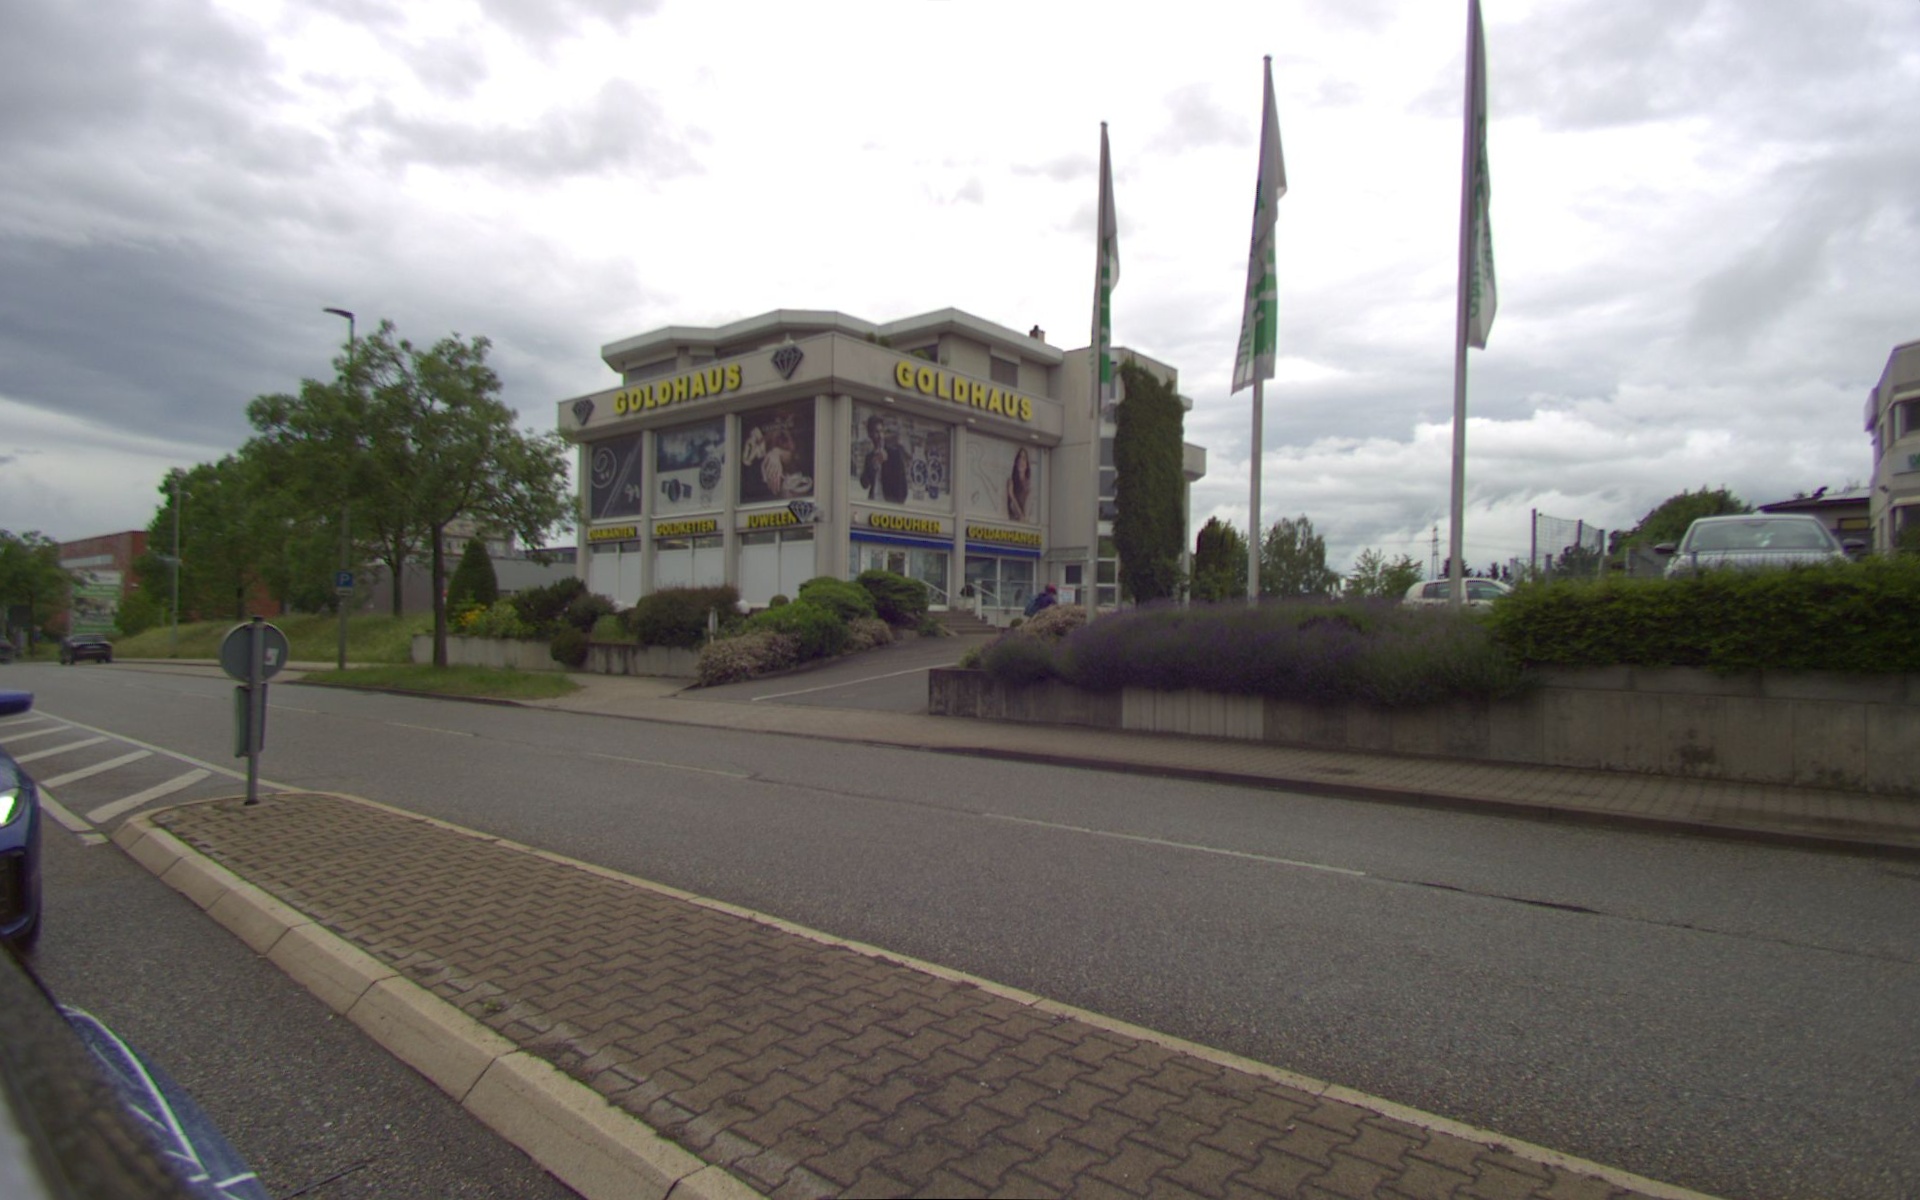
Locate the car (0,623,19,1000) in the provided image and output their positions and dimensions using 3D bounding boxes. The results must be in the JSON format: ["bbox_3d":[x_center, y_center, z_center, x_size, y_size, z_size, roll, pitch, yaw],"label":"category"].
[{"bbox_3d":[-6.038,0.848,4.785,4.593,1.467,1.762,-1,0,40],"label":"car"}]

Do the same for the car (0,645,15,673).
[{"bbox_3d":[-56.961,3.504,59.236,3.998,1.608,1.973,-4,-4,41],"label":"car"}]

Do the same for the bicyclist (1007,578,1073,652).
[{"bbox_3d":[1.702,0.313,21.410,0.909,1.453,1.014,-2,3,39],"label":"bicyclist"}]

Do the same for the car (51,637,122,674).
[{"bbox_3d":[-47.427,3.039,54.927,4.542,1.905,2.320,-4,-4,41],"label":"car"}]

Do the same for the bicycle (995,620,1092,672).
[{"bbox_3d":[1.799,0.953,21.507,0.909,0.820,2.264,-2,4,39],"label":"bicycle"}]

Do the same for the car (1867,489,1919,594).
[{"bbox_3d":[15.671,-0.892,16.222,1.452,1.484,3.353,-1,-2,38],"label":"car"}]

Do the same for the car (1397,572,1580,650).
[{"bbox_3d":[11.823,0.277,22.747,3.384,1.609,1.511,-2,-2,41],"label":"car"}]

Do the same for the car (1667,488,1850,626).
[{"bbox_3d":[9.317,-0.384,11.717,1.454,1.347,3.350,-2,-2,42],"label":"car"}]
